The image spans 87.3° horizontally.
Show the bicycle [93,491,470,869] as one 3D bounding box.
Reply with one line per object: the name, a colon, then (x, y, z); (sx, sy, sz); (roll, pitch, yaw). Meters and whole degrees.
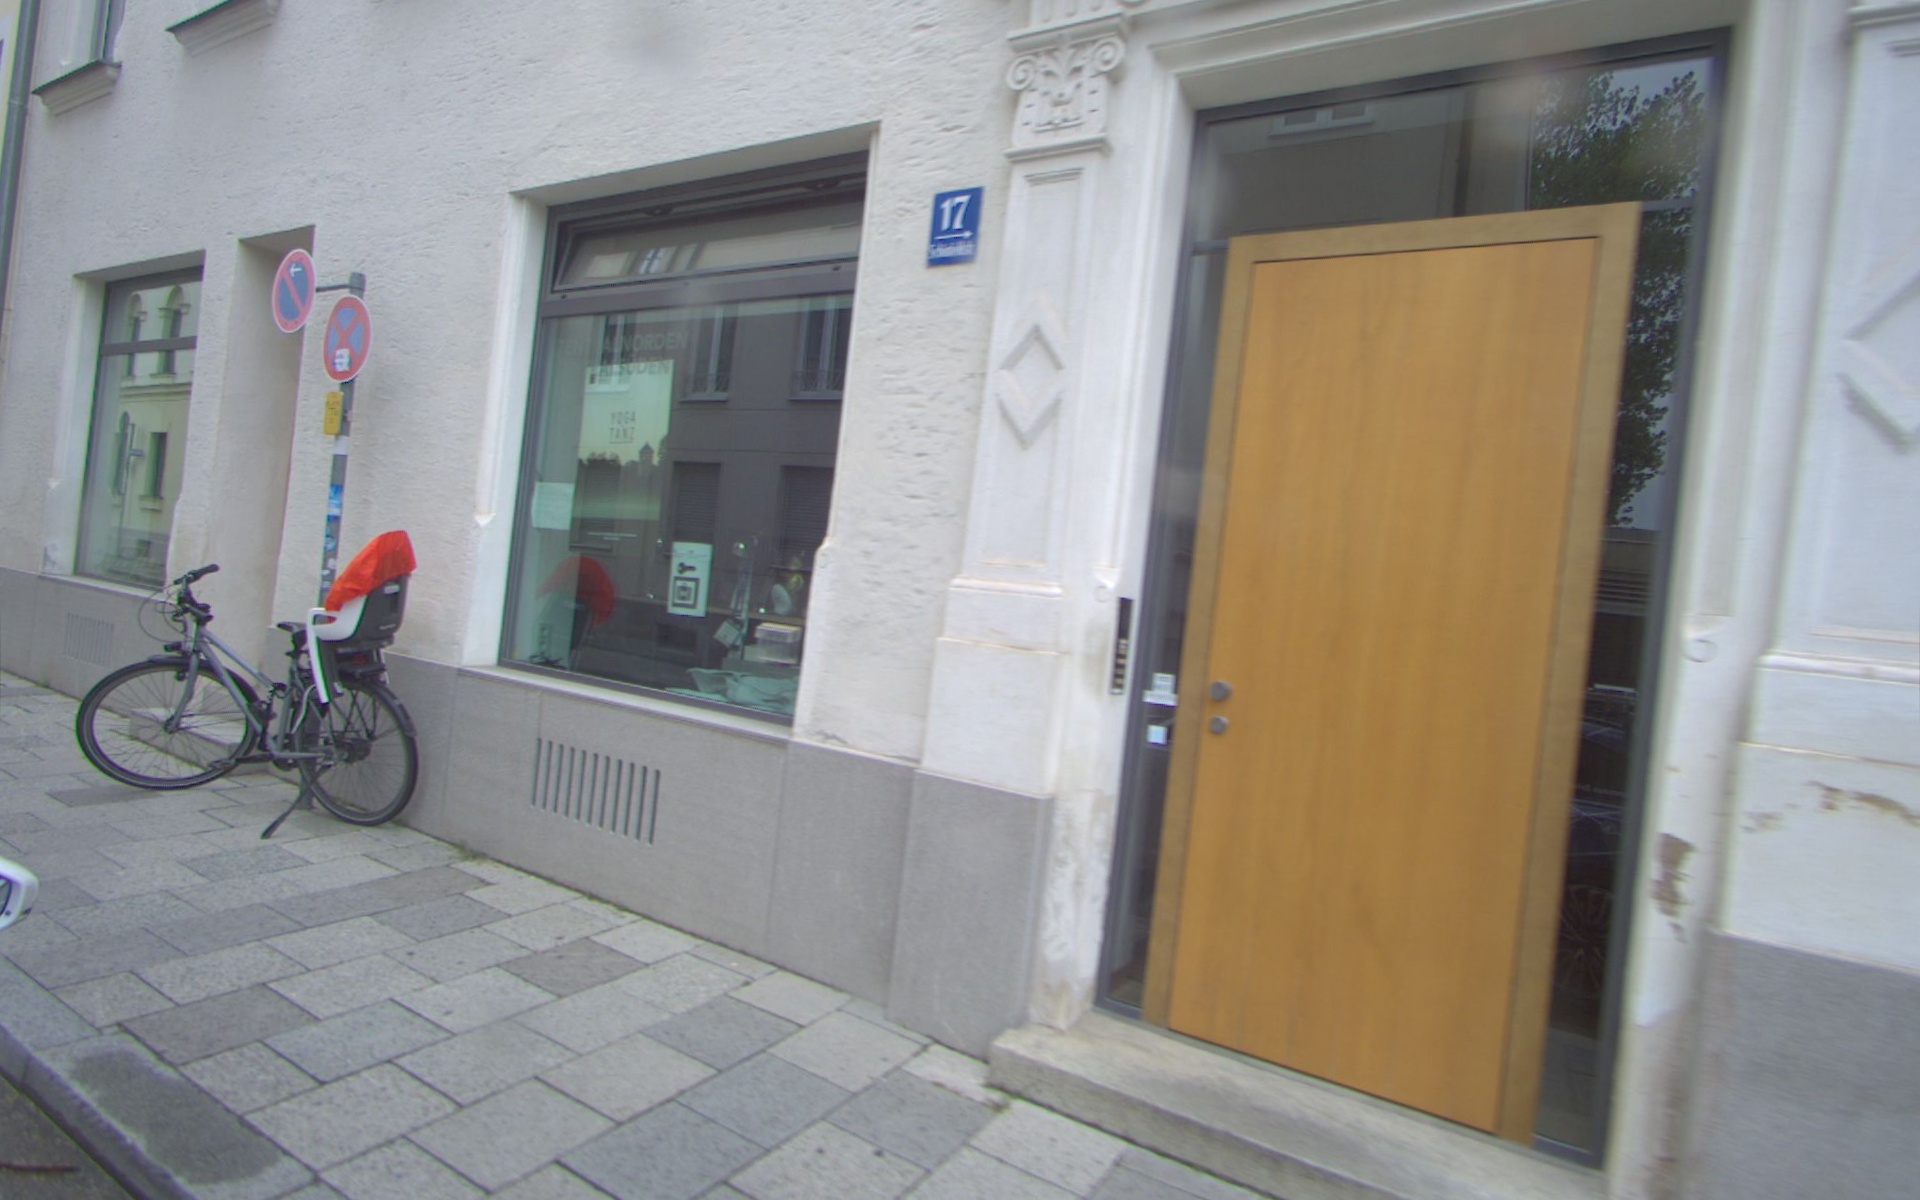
bicycle: (-3.310, 0.269, 4.818); (2.088, 1.415, 0.713); (7, 3, 34)
